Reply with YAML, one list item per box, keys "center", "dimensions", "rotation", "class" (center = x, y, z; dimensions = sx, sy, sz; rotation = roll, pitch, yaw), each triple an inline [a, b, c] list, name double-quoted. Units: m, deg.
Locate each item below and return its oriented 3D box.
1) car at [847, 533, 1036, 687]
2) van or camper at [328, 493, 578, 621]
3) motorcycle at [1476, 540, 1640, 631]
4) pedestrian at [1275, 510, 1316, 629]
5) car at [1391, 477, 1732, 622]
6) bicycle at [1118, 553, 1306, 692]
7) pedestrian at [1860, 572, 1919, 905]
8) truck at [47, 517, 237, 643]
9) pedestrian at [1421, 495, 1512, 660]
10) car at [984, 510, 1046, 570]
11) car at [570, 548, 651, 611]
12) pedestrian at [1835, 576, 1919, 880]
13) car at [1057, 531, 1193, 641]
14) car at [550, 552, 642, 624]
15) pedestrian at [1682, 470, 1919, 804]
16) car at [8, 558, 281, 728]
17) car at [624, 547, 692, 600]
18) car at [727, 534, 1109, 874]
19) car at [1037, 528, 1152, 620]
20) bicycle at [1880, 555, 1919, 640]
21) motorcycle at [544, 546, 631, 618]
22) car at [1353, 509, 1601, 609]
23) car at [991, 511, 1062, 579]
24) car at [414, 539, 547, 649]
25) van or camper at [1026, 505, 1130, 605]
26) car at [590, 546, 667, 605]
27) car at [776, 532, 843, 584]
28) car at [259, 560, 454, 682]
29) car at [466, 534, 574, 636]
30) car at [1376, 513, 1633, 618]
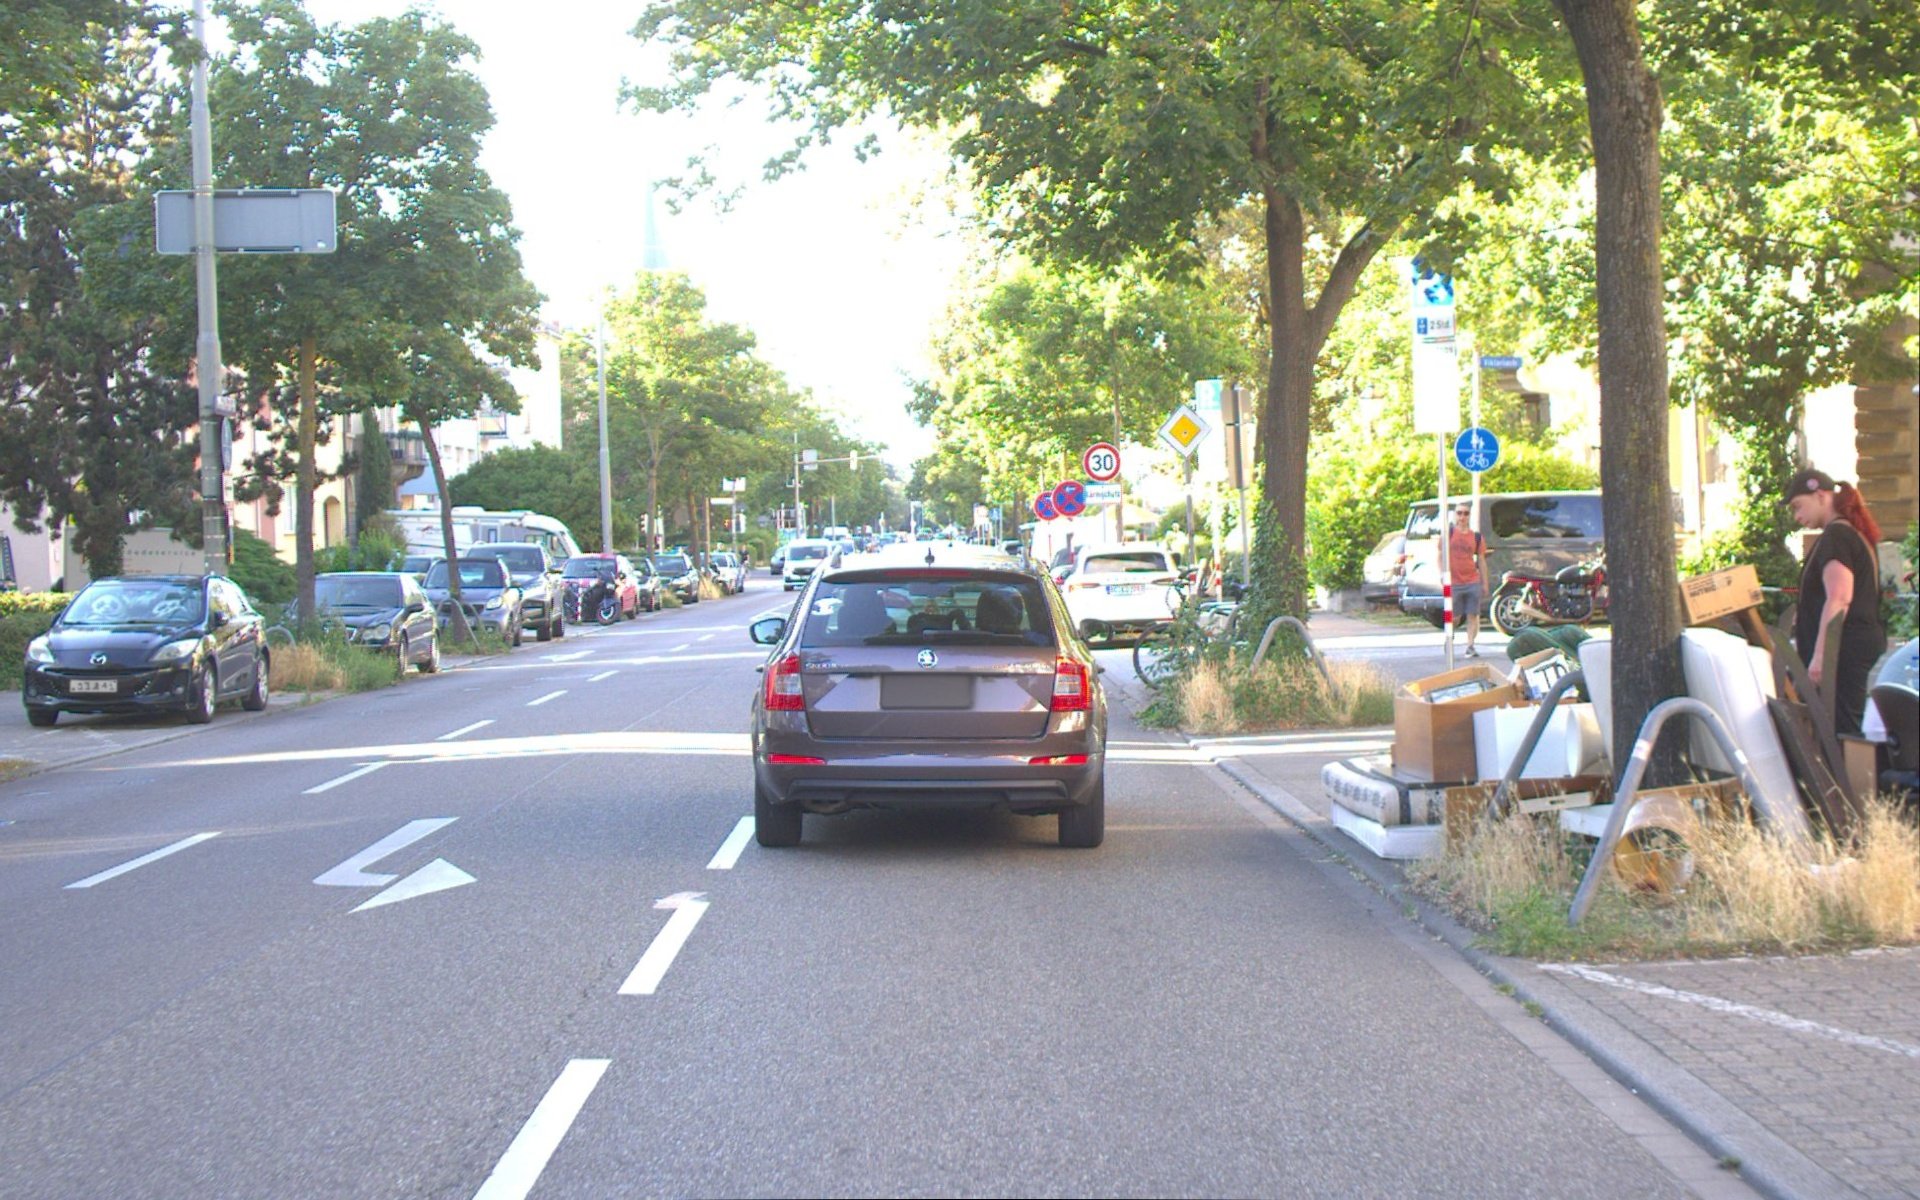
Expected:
- center: [-0.248, 0.065, 36.886]
  dimensions: [1.729, 1.488, 3.951]
  rotation: [-2, 2, -4]
  class: "car"
- center: [-16.236, -1.401, 110.320]
  dimensions: [7.639, 3.861, 2.000]
  rotation: [-2, 1, -2]
  class: "van or camper"
- center: [7.921, -0.196, 45.565]
  dimensions: [2.051, 1.121, 0.525]
  rotation: [-2, 1, -5]
  class: "motorcycle"
- center: [5.103, -0.470, 52.323]
  dimensions: [0.535, 1.788, 0.687]
  rotation: [-2, 1, 2]
  class: "pedestrian"
- center: [8.604, -0.741, 49.136]
  dimensions: [4.532, 1.886, 1.915]
  rotation: [-3, 1, -28]
  class: "car"
- center: [2.453, 0.215, 33.444]
  dimensions: [1.671, 1.222, 0.635]
  rotation: [-4, 1, 13]
  class: "bicycle"
- center: [4.021, 0.517, 13.391]
  dimensions: [0.797, 1.250, 0.701]
  rotation: [-2, 1, -3]
  class: "pedestrian"
- center: [-14.374, -0.367, 60.496]
  dimensions: [2.913, 2.086, 1.546]
  rotation: [-2, 1, -1]
  class: "truck"
- center: [5.631, -0.261, 38.251]
  dimensions: [0.756, 1.790, 0.906]
  rotation: [-2, 1, -5]
  class: "pedestrian"
- center: [1.711, -1.908, 108.874]
  dimensions: [1.729, 1.809, 3.951]
  rotation: [-2, 2, -2]
  class: "car"
- center: [-8.594, -0.514, 84.785]
  dimensions: [1.664, 1.427, 3.275]
  rotation: [-2, 2, 0]
  class: "car"
- center: [4.097, 0.530, 14.623]
  dimensions: [0.653, 1.250, 0.657]
  rotation: [-1, 2, 18]
  class: "pedestrian"
- center: [2.320, -0.232, 49.200]
  dimensions: [1.821, 1.408, 4.111]
  rotation: [-2, 2, 2]
  class: "car"
- center: [-8.339, -0.300, 79.098]
  dimensions: [1.664, 1.506, 4.179]
  rotation: [-2, 2, -1]
  class: "car"
- center: [3.926, 0.155, 15.797]
  dimensions: [1.061, 1.471, 0.479]
  rotation: [-2, 1, -19]
  class: "pedestrian"
- center: [-8.135, 0.385, 34.645]
  dimensions: [1.717, 1.492, 4.248]
  rotation: [-2, 2, 0]
  class: "car"
- center: [-8.816, -0.792, 100.556]
  dimensions: [1.664, 1.427, 3.275]
  rotation: [-2, 2, 0]
  class: "car"
- center: [-0.176, 0.445, 17.892]
  dimensions: [1.729, 1.488, 3.951]
  rotation: [-2, 2, 1]
  class: "car"
- center: [2.237, -0.460, 57.683]
  dimensions: [1.821, 1.408, 4.111]
  rotation: [-2, 2, 2]
  class: "car"
- center: [10.858, -0.028, 38.839]
  dimensions: [0.342, 0.947, 1.582]
  rotation: [1, 1, -6]
  class: "bicycle"
- center: [-8.034, -0.379, 74.149]
  dimensions: [0.764, 1.506, 2.029]
  rotation: [-3, 2, -43]
  class: "motorcycle"
- center: [8.609, -0.698, 57.260]
  dimensions: [3.799, 1.520, 1.512]
  rotation: [-2, 1, -22]
  class: "car"
- center: [1.851, -1.562, 96.384]
  dimensions: [1.729, 1.809, 3.951]
  rotation: [-2, 2, -2]
  class: "car"
- center: [-8.206, -0.132, 59.046]
  dimensions: [1.750, 1.734, 3.591]
  rotation: [-2, 2, 0]
  class: "car"
- center: [2.478, -0.979, 73.091]
  dimensions: [1.993, 2.006, 4.000]
  rotation: [-2, 2, 0]
  class: "van or camper"
- center: [-8.602, -0.647, 89.328]
  dimensions: [1.664, 1.427, 3.275]
  rotation: [-2, 2, 0]
  class: "car"
- center: [-5.395, -1.526, 123.708]
  dimensions: [1.877, 1.751, 4.178]
  rotation: [-2, 2, 4]
  class: "car"
- center: [-7.978, 0.239, 45.792]
  dimensions: [1.754, 1.415, 4.426]
  rotation: [-2, 2, 0]
  class: "car"
- center: [-8.141, -0.307, 63.797]
  dimensions: [1.507, 1.751, 3.694]
  rotation: [-2, 2, -1]
  class: "car"
- center: [8.728, -0.566, 55.096]
  dimensions: [3.799, 1.520, 1.512]
  rotation: [-2, 1, -22]
  class: "car"
